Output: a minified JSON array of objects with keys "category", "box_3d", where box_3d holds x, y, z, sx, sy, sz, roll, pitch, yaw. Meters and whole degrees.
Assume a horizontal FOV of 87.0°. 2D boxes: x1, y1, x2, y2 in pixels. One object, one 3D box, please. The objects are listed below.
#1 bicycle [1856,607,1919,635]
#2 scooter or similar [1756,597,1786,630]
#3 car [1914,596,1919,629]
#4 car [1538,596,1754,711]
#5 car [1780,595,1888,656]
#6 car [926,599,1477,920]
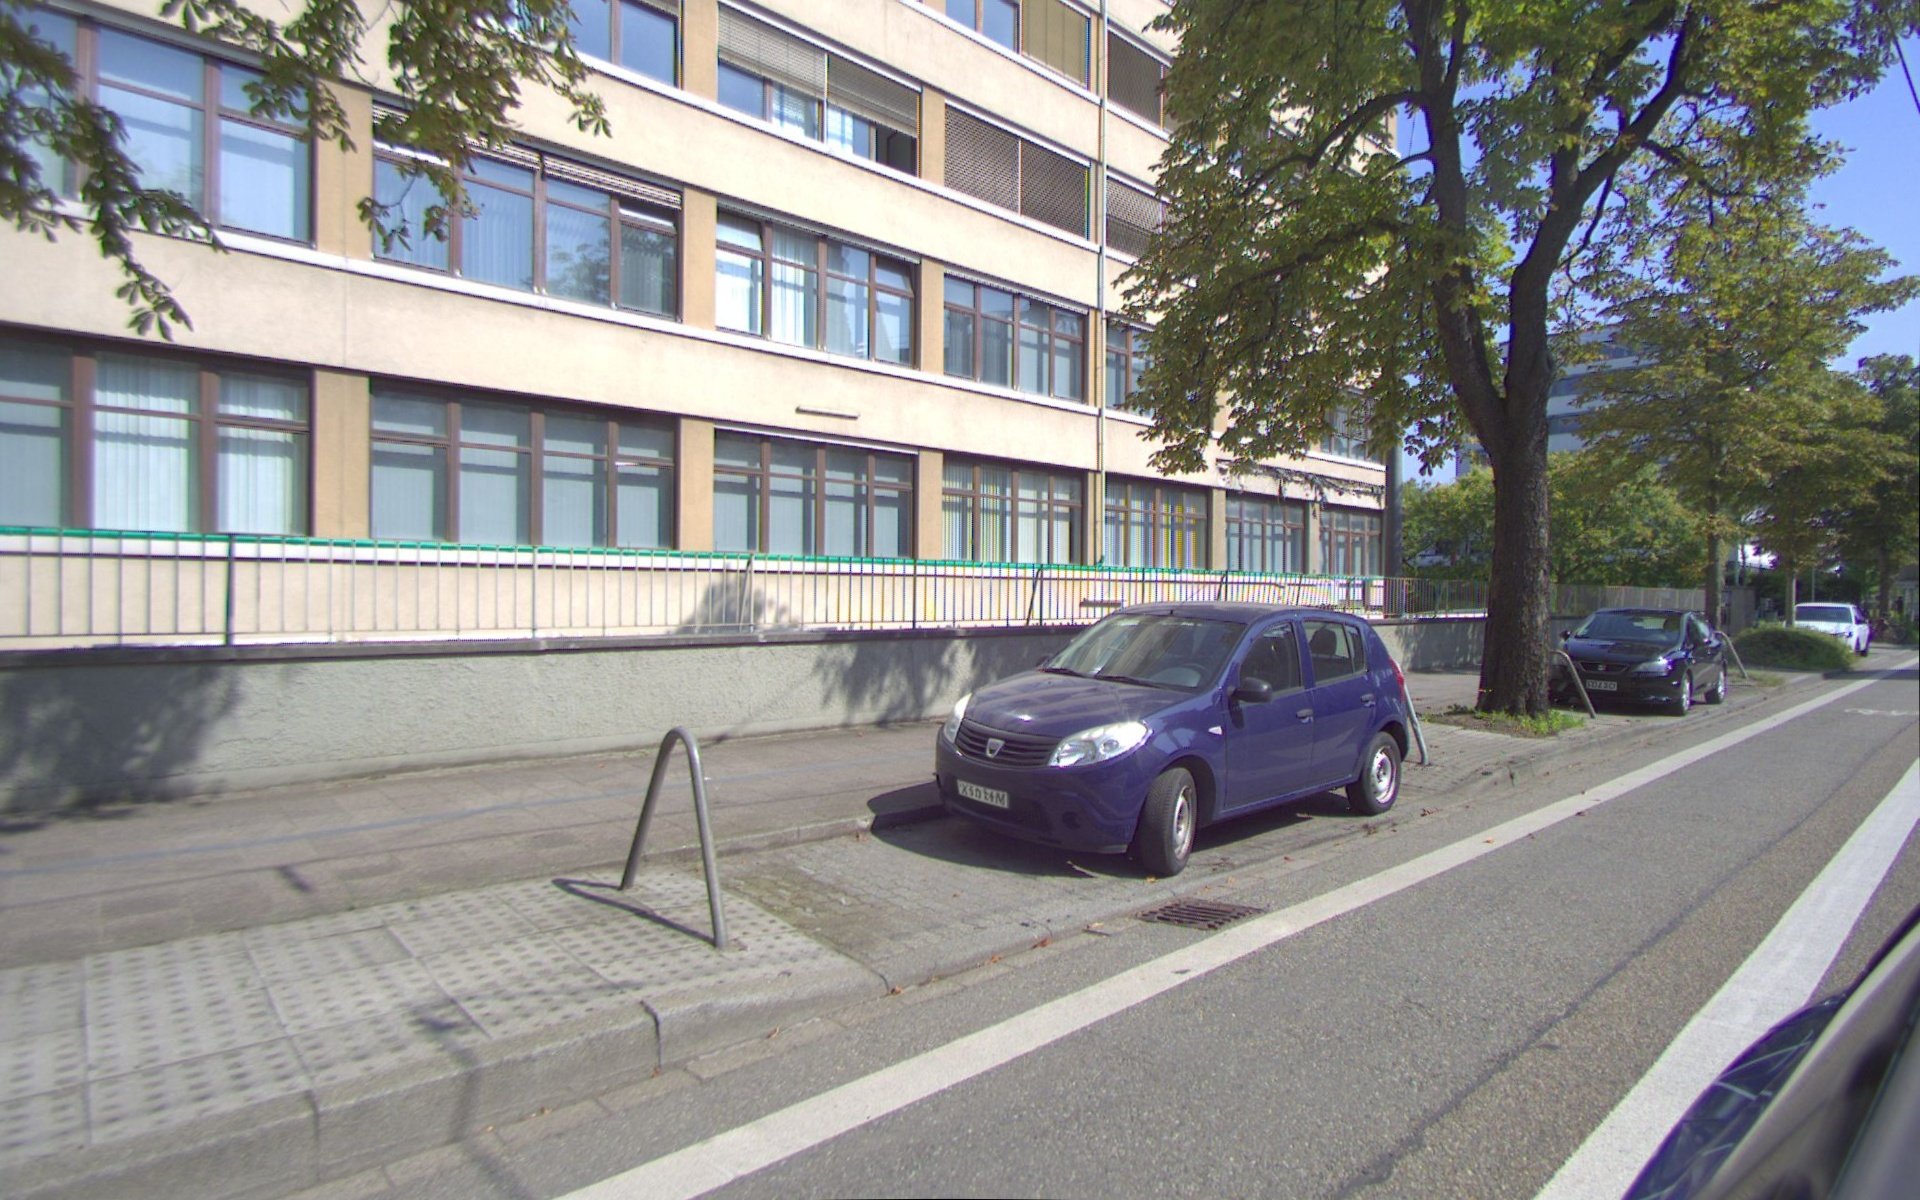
[{"category":"bicycle","box_3d":[32.765,0.732,35.612,0.548,0.970,1.814,0,0,-41]},{"category":"scooter or similar","box_3d":[32.019,0.520,39.963,1.785,1.275,0.557,0,-1,-39]},{"category":"car","box_3d":[46.107,0.586,47.408,4.532,1.534,1.758,0,1,-43]},{"category":"car","box_3d":[10.201,0.678,14.926,4.144,1.425,1.662,0,1,-42]},{"category":"car","box_3d":[23.495,0.627,27.167,4.144,1.499,1.662,0,1,-42]},{"category":"car","box_3d":[1.903,0.810,7.169,4.144,1.575,1.746,0,1,-42]}]
